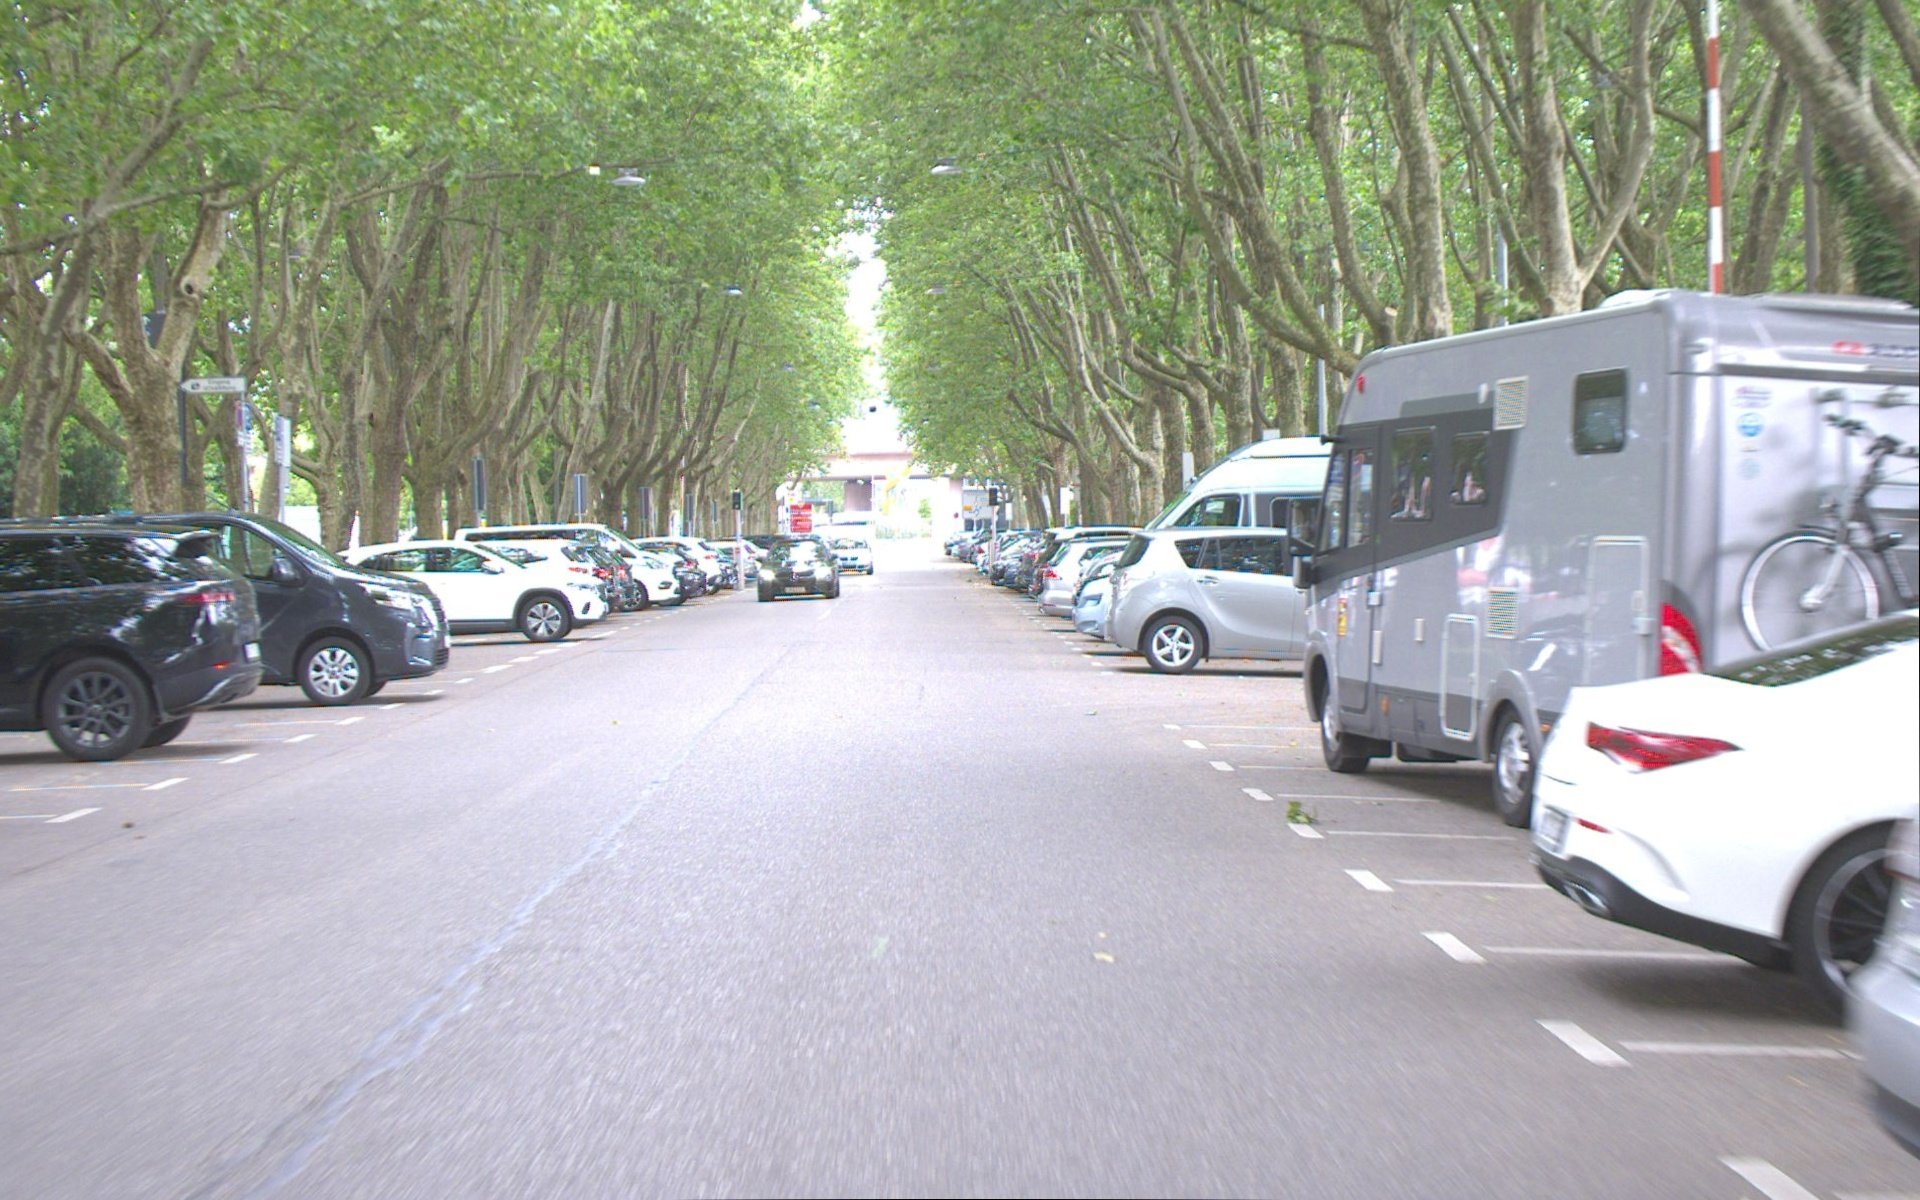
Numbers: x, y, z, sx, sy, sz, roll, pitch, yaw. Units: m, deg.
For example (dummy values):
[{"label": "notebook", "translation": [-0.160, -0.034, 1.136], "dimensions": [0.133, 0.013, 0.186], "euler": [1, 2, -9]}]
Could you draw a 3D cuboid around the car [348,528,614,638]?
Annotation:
[{"label": "car", "translation": [-8.338, -0.309, 60.154], "dimensions": [4.340, 1.662, 2.000], "euler": [-3, 1, -2]}]

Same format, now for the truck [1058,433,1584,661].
[{"label": "truck", "translation": [4.372, -0.662, 42.397], "dimensions": [6.294, 2.706, 2.098], "euler": [0, 1, 2]}]

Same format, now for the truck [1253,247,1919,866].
[{"label": "truck", "translation": [3.848, -0.276, 20.181], "dimensions": [2.458, 2.927, 7.540], "euler": [0, 1, -9]}]

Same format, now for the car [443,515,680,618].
[{"label": "car", "translation": [-8.658, -0.743, 75.027], "dimensions": [4.893, 2.012, 1.920], "euler": [-2, 1, -1]}]

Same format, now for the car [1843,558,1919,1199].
[{"label": "car", "translation": [4.071, 0.793, 6.458], "dimensions": [4.360, 1.440, 1.612], "euler": [4, 1, 3]}]

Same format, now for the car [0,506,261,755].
[{"label": "car", "translation": [-7.813, 0.256, 26.345], "dimensions": [4.652, 1.814, 1.806], "euler": [-1, 0, -7]}]

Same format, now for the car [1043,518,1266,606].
[{"label": "car", "translation": [3.954, -0.787, 70.240], "dimensions": [4.384, 1.749, 1.801], "euler": [0, 1, -2]}]

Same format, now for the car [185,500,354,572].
[{"label": "car", "translation": [-25.291, -2.343, 125.974], "dimensions": [5.786, 2.588, 2.000], "euler": [0, 1, 0]}]

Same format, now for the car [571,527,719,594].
[{"label": "car", "translation": [-8.446, -1.063, 92.440], "dimensions": [3.826, 1.622, 1.953], "euler": [-2, 1, -3]}]

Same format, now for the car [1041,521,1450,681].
[{"label": "car", "translation": [3.096, -0.005, 37.819], "dimensions": [4.340, 1.612, 1.803], "euler": [1, 1, 2]}]

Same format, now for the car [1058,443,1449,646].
[{"label": "car", "translation": [4.022, -0.777, 47.778], "dimensions": [5.228, 2.680, 1.957], "euler": [1, 1, 0]}]

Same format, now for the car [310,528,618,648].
[{"label": "car", "translation": [-7.492, -0.199, 52.271], "dimensions": [4.379, 1.591, 2.000], "euler": [-3, 1, -2]}]

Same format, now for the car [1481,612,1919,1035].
[{"label": "car", "translation": [4.074, 0.721, 11.743], "dimensions": [4.320, 1.297, 1.700], "euler": [0, 1, 0]}]

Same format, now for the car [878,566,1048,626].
[{"label": "car", "translation": [0.050, -0.110, 86.369], "dimensions": [4.211, 1.446, 1.611], "euler": [0, 1, -2]}]

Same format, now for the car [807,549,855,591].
[{"label": "car", "translation": [-4.839, -1.150, 128.818], "dimensions": [1.689, 1.466, 3.840], "euler": [-2, 1, -2]}]

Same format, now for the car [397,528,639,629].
[{"label": "car", "translation": [-8.405, -0.425, 65.696], "dimensions": [4.340, 1.662, 2.000], "euler": [-3, 1, -2]}]

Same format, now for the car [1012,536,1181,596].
[{"label": "car", "translation": [3.189, -0.802, 80.597], "dimensions": [3.826, 1.384, 1.694], "euler": [0, 1, -2]}]

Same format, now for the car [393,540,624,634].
[{"label": "car", "translation": [-8.226, -0.253, 62.890], "dimensions": [3.986, 1.470, 1.843], "euler": [-3, 1, -2]}]

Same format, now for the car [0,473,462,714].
[{"label": "car", "translation": [-7.784, -0.066, 33.823], "dimensions": [5.435, 2.120, 1.940], "euler": [-3, 2, -2]}]

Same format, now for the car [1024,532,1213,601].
[{"label": "car", "translation": [3.440, -0.745, 75.180], "dimensions": [3.986, 1.481, 1.694], "euler": [0, 1, -2]}]

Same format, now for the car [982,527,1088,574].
[{"label": "car", "translation": [2.681, -1.766, 122.993], "dimensions": [3.645, 1.661, 1.519], "euler": [0, 1, -4]}]

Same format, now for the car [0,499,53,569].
[{"label": "car", "translation": [-36.464, -2.420, 125.820], "dimensions": [6.001, 2.518, 2.000], "euler": [0, 1, -1]}]

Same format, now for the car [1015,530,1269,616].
[{"label": "car", "translation": [3.318, -0.506, 63.180], "dimensions": [4.501, 1.520, 1.703], "euler": [0, 1, -2]}]

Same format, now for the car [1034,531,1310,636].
[{"label": "car", "translation": [3.226, -0.258, 52.954], "dimensions": [4.119, 1.424, 1.703], "euler": [2, 1, 1]}]

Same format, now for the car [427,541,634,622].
[{"label": "car", "translation": [-8.703, -0.380, 69.904], "dimensions": [3.986, 1.408, 1.683], "euler": [-3, 1, -2]}]

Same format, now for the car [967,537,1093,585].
[{"label": "car", "translation": [2.370, -1.343, 117.299], "dimensions": [4.166, 1.591, 1.855], "euler": [0, 1, -4]}]

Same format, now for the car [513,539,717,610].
[{"label": "car", "translation": [-8.039, -0.612, 80.252], "dimensions": [4.449, 1.447, 1.774], "euler": [-2, 1, 4]}]

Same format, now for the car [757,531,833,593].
[{"label": "car", "translation": [-3.974, -0.927, 82.451], "dimensions": [1.654, 1.359, 4.113], "euler": [-3, 1, -4]}]
